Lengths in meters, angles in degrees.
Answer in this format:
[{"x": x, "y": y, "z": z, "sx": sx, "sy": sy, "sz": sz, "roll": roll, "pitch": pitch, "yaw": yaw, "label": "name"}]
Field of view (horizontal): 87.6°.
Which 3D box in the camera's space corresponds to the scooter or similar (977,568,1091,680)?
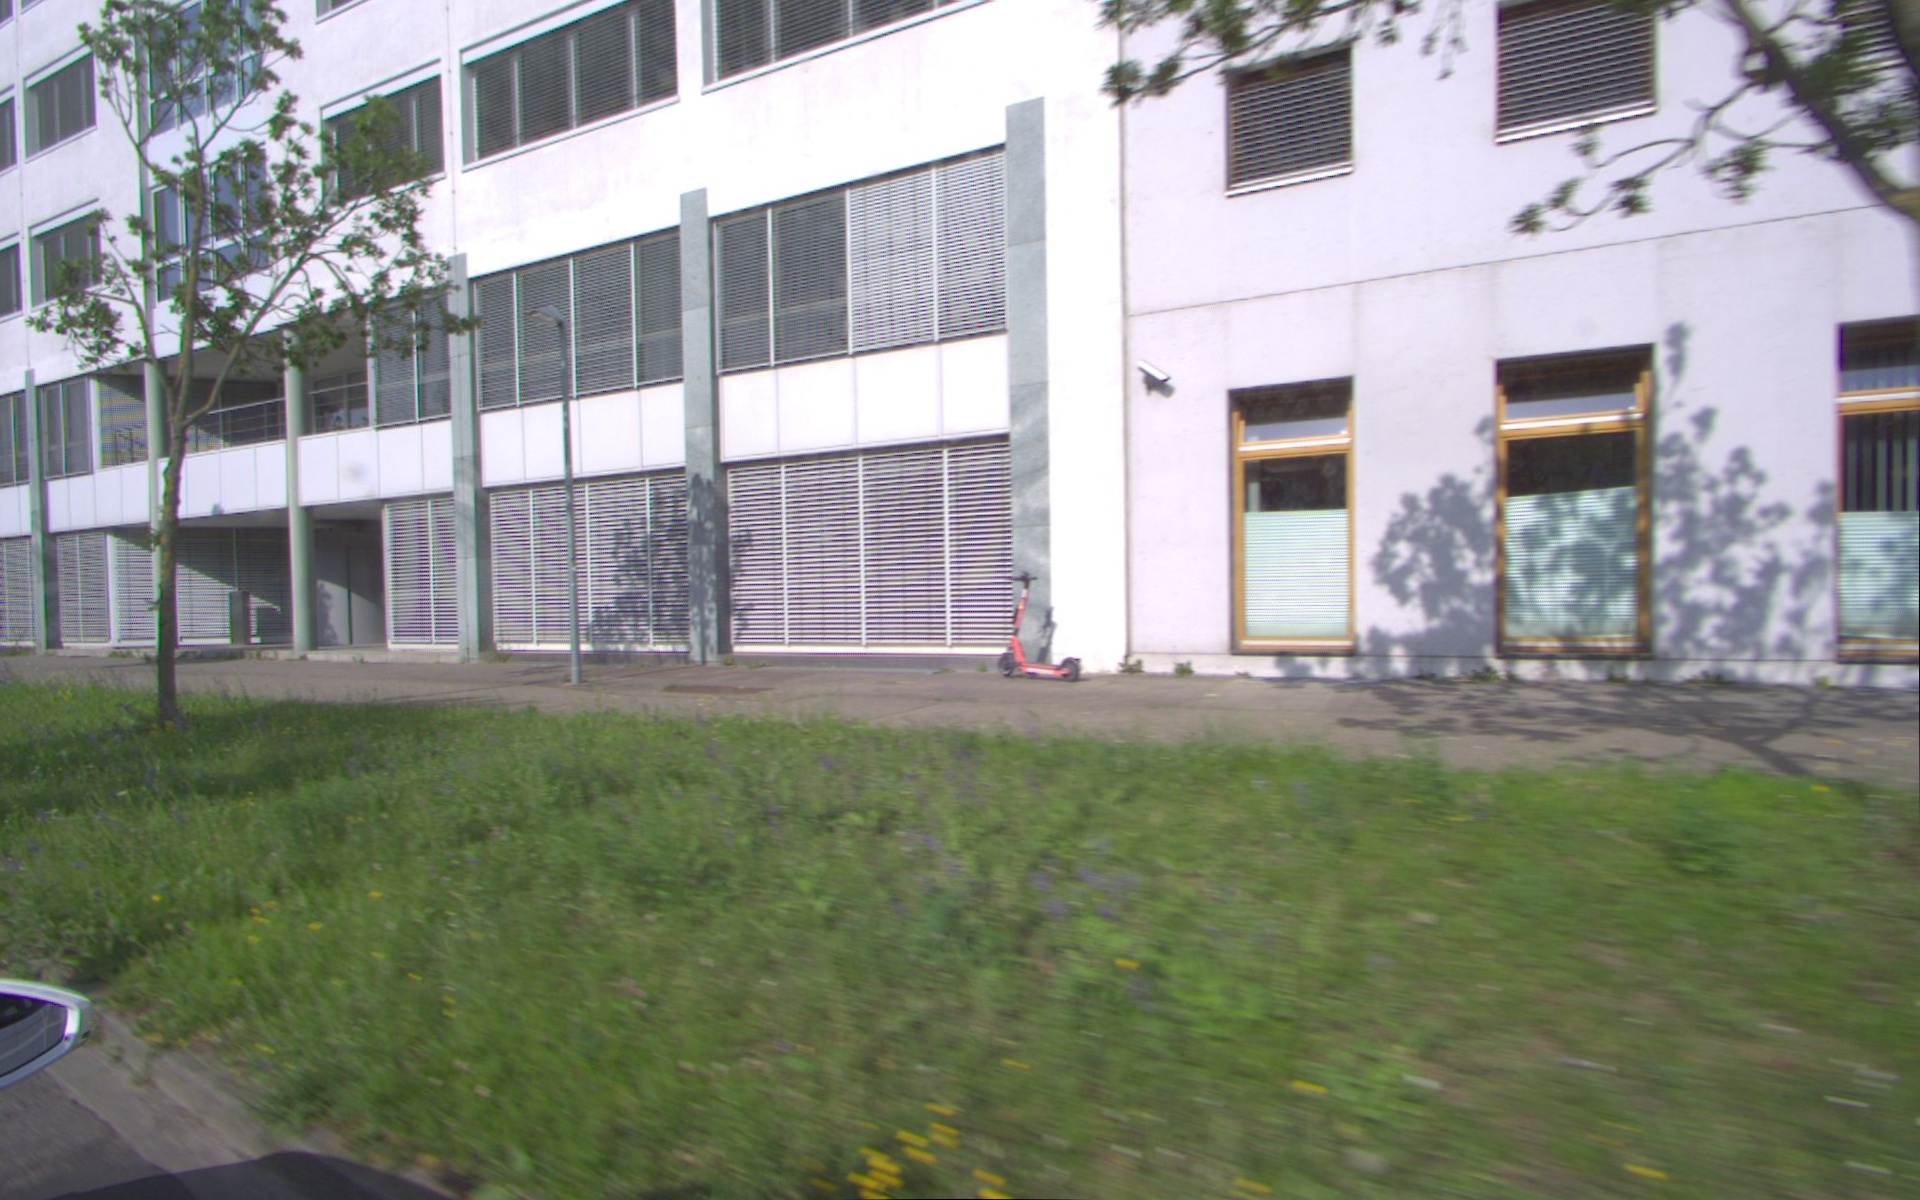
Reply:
[{"x": 0.846, "y": 0.265, "z": 11.552, "sx": 1.237, "sy": 1.230, "sz": 0.461, "roll": 0, "pitch": 2, "yaw": 34, "label": "scooter or similar"}]
